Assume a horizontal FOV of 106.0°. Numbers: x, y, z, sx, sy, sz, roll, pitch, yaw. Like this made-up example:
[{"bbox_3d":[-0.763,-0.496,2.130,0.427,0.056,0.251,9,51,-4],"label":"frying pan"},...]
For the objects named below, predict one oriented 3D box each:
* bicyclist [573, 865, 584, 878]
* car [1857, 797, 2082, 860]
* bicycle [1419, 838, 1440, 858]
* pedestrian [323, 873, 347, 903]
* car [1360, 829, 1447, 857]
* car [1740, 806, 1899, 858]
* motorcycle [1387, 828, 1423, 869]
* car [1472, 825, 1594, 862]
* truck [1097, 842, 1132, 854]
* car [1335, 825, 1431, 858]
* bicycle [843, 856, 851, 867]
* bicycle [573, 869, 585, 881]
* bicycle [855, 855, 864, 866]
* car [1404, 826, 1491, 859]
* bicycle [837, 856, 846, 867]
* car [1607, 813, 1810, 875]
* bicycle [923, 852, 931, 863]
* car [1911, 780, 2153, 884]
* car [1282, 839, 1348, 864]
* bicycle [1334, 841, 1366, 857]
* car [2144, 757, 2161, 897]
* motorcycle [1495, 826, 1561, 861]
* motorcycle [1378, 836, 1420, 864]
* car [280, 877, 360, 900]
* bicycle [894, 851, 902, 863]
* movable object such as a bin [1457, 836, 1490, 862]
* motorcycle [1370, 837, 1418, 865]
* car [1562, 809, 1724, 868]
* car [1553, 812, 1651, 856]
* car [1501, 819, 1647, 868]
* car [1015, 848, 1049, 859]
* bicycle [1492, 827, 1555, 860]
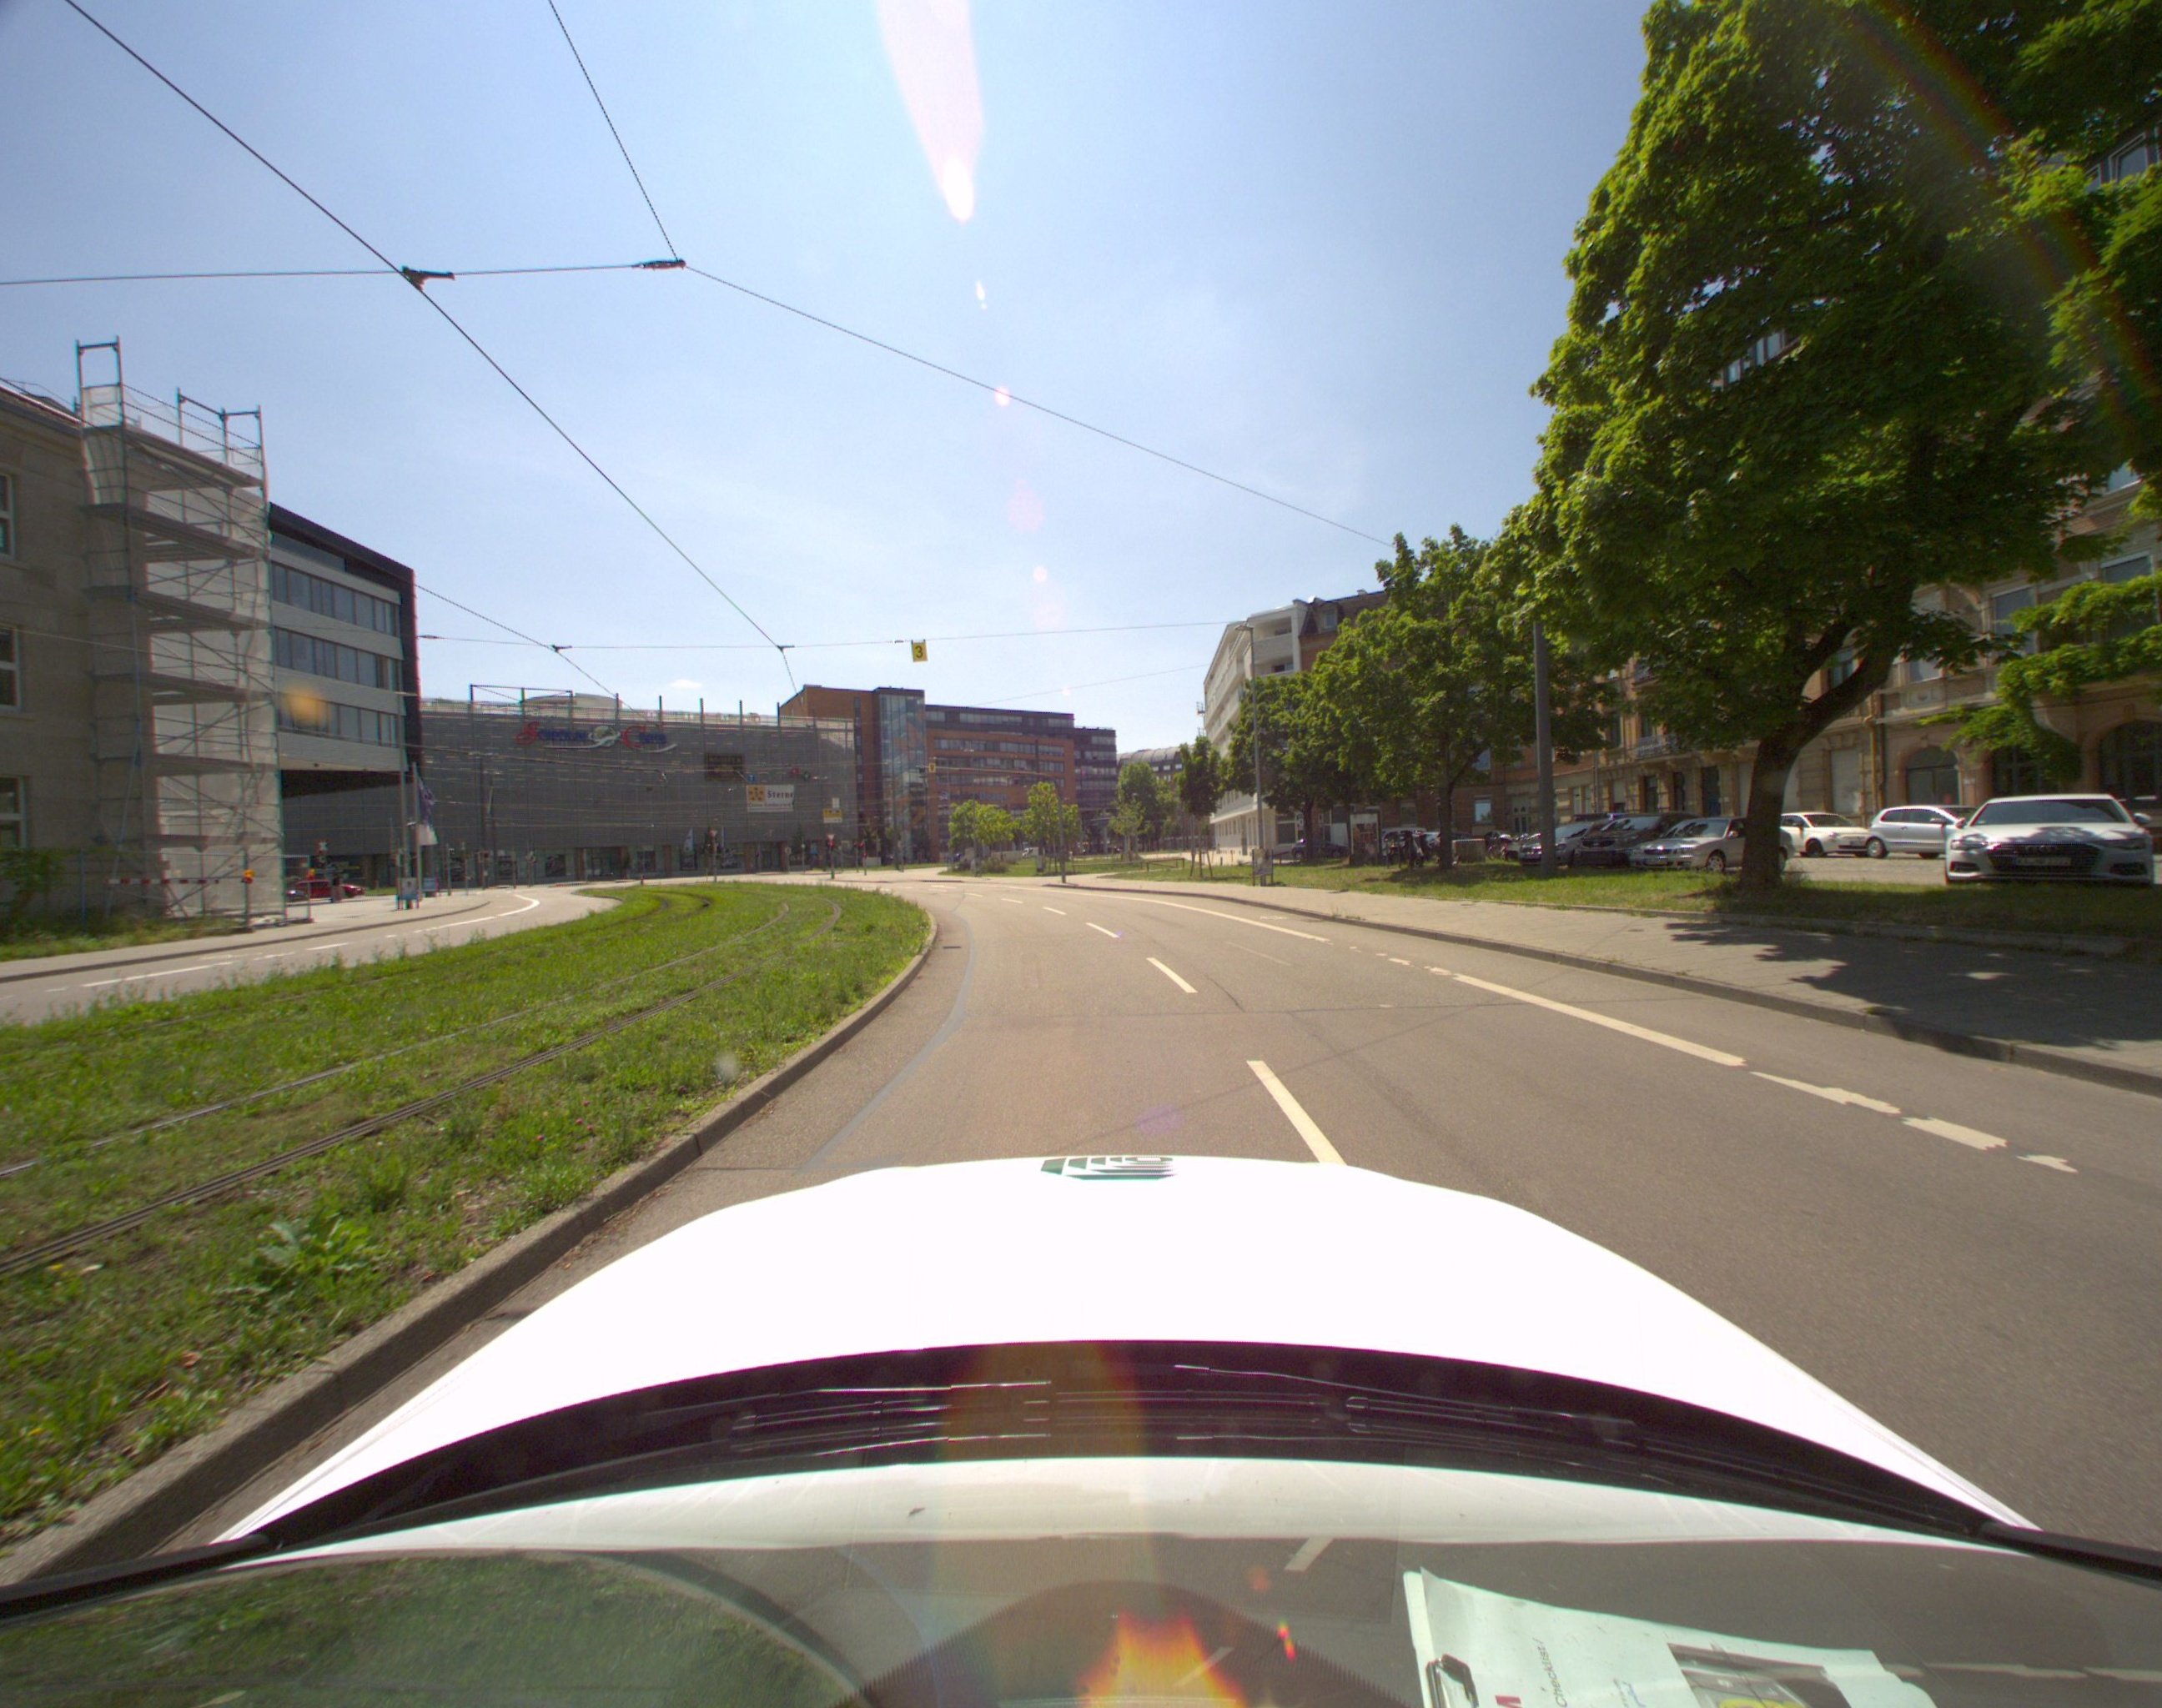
[{"bbox_3d":[-62.064,2.105,100.660,1.045,1.571,0.770,-1,0,-28],"label":"bicyclist"},{"bbox_3d":[23.966,-0.648,22.220,1.829,1.530,4.002,-1,0,2],"label":"car"},{"bbox_3d":[15.047,-0.267,35.129,0.492,0.805,1.465,-1,0,37],"label":"bicycle"},{"bbox_3d":[-41.763,1.891,45.608,0.903,1.630,0.754,-1,0,32],"label":"pedestrian"},{"bbox_3d":[16.076,-0.546,40.587,4.005,1.332,1.745,-2,0,-24],"label":"car"},{"bbox_3d":[24.114,-0.680,26.817,1.827,1.530,4.006,-1,0,5],"label":"car"},{"bbox_3d":[12.025,-0.206,30.248,0.672,1.413,1.859,-4,0,5],"label":"motorcycle"},{"bbox_3d":[18.527,-0.433,33.548,3.961,1.376,1.963,-1,0,11],"label":"car"},{"bbox_3d":[8.507,-1.536,207.797,9.120,2.809,2.013,-1,0,35],"label":"truck"},{"bbox_3d":[16.041,-0.671,43.183,4.881,1.600,1.822,-2,0,-24],"label":"car"},{"bbox_3d":[-36.383,1.128,126.530,0.603,1.731,2.237,-1,0,-33],"label":"bicycle"},{"bbox_3d":[-62.137,2.596,100.826,1.067,1.390,2.997,-1,0,-27],"label":"bicycle"},{"bbox_3d":[-34.603,1.052,127.137,0.603,1.731,2.237,-1,0,-33],"label":"bicycle"},{"bbox_3d":[17.109,-0.524,38.017,3.876,1.432,1.594,-2,0,-26],"label":"car"},{"bbox_3d":[-37.063,1.122,126.064,0.603,1.731,2.237,-1,0,-33],"label":"bicycle"},{"bbox_3d":[14.939,-0.254,19.429,3.999,1.313,1.960,-2,0,-19],"label":"car"},{"bbox_3d":[-25.557,0.649,135.022,0.488,1.796,2.236,-1,0,-32],"label":"bicycle"},{"bbox_3d":[14.685,-0.323,12.554,4.811,1.313,2.125,-2,0,-38],"label":"car"},{"bbox_3d":[16.203,-0.188,56.401,4.077,1.624,1.706,-1,0,33],"label":"car"},{"bbox_3d":[16.028,-0.310,48.572,2.055,0.935,0.504,-2,0,-28],"label":"bicycle"},{"bbox_3d":[15.021,-0.371,9.678,4.004,1.662,1.957,-2,0,-23],"label":"car"},{"bbox_3d":[16.881,-0.407,30.797,2.061,1.236,0.816,-2,0,19],"label":"motorcycle"},{"bbox_3d":[12.959,-0.165,33.236,1.514,1.120,0.478,-1,0,3],"label":"motorcycle"},{"bbox_3d":[-56.608,2.545,60.686,4.159,1.508,1.821,-2,0,-38],"label":"car"},{"bbox_3d":[-29.748,0.474,132.319,0.488,2.013,2.323,-1,0,-32],"label":"bicycle"},{"bbox_3d":[14.926,-0.184,30.996,0.979,0.937,0.704,-1,0,15],"label":"movable object such as a bin"},{"bbox_3d":[13.149,-0.144,34.235,1.818,1.120,0.527,-1,0,-4],"label":"motorcycle"},{"bbox_3d":[15.361,-0.436,22.254,4.098,1.469,1.784,-2,0,-24],"label":"car"},{"bbox_3d":[24.667,-0.906,38.805,1.911,1.903,4.659,-1,0,4],"label":"car"},{"bbox_3d":[15.156,-0.330,25.024,4.352,1.376,1.571,-2,0,-23],"label":"car"},{"bbox_3d":[-7.990,-0.087,133.017,5.509,1.668,1.977,-2,0,-40],"label":"car"},{"bbox_3d":[17.414,-0.391,32.078,2.063,1.236,0.634,-1,0,13],"label":"bicycle"}]
